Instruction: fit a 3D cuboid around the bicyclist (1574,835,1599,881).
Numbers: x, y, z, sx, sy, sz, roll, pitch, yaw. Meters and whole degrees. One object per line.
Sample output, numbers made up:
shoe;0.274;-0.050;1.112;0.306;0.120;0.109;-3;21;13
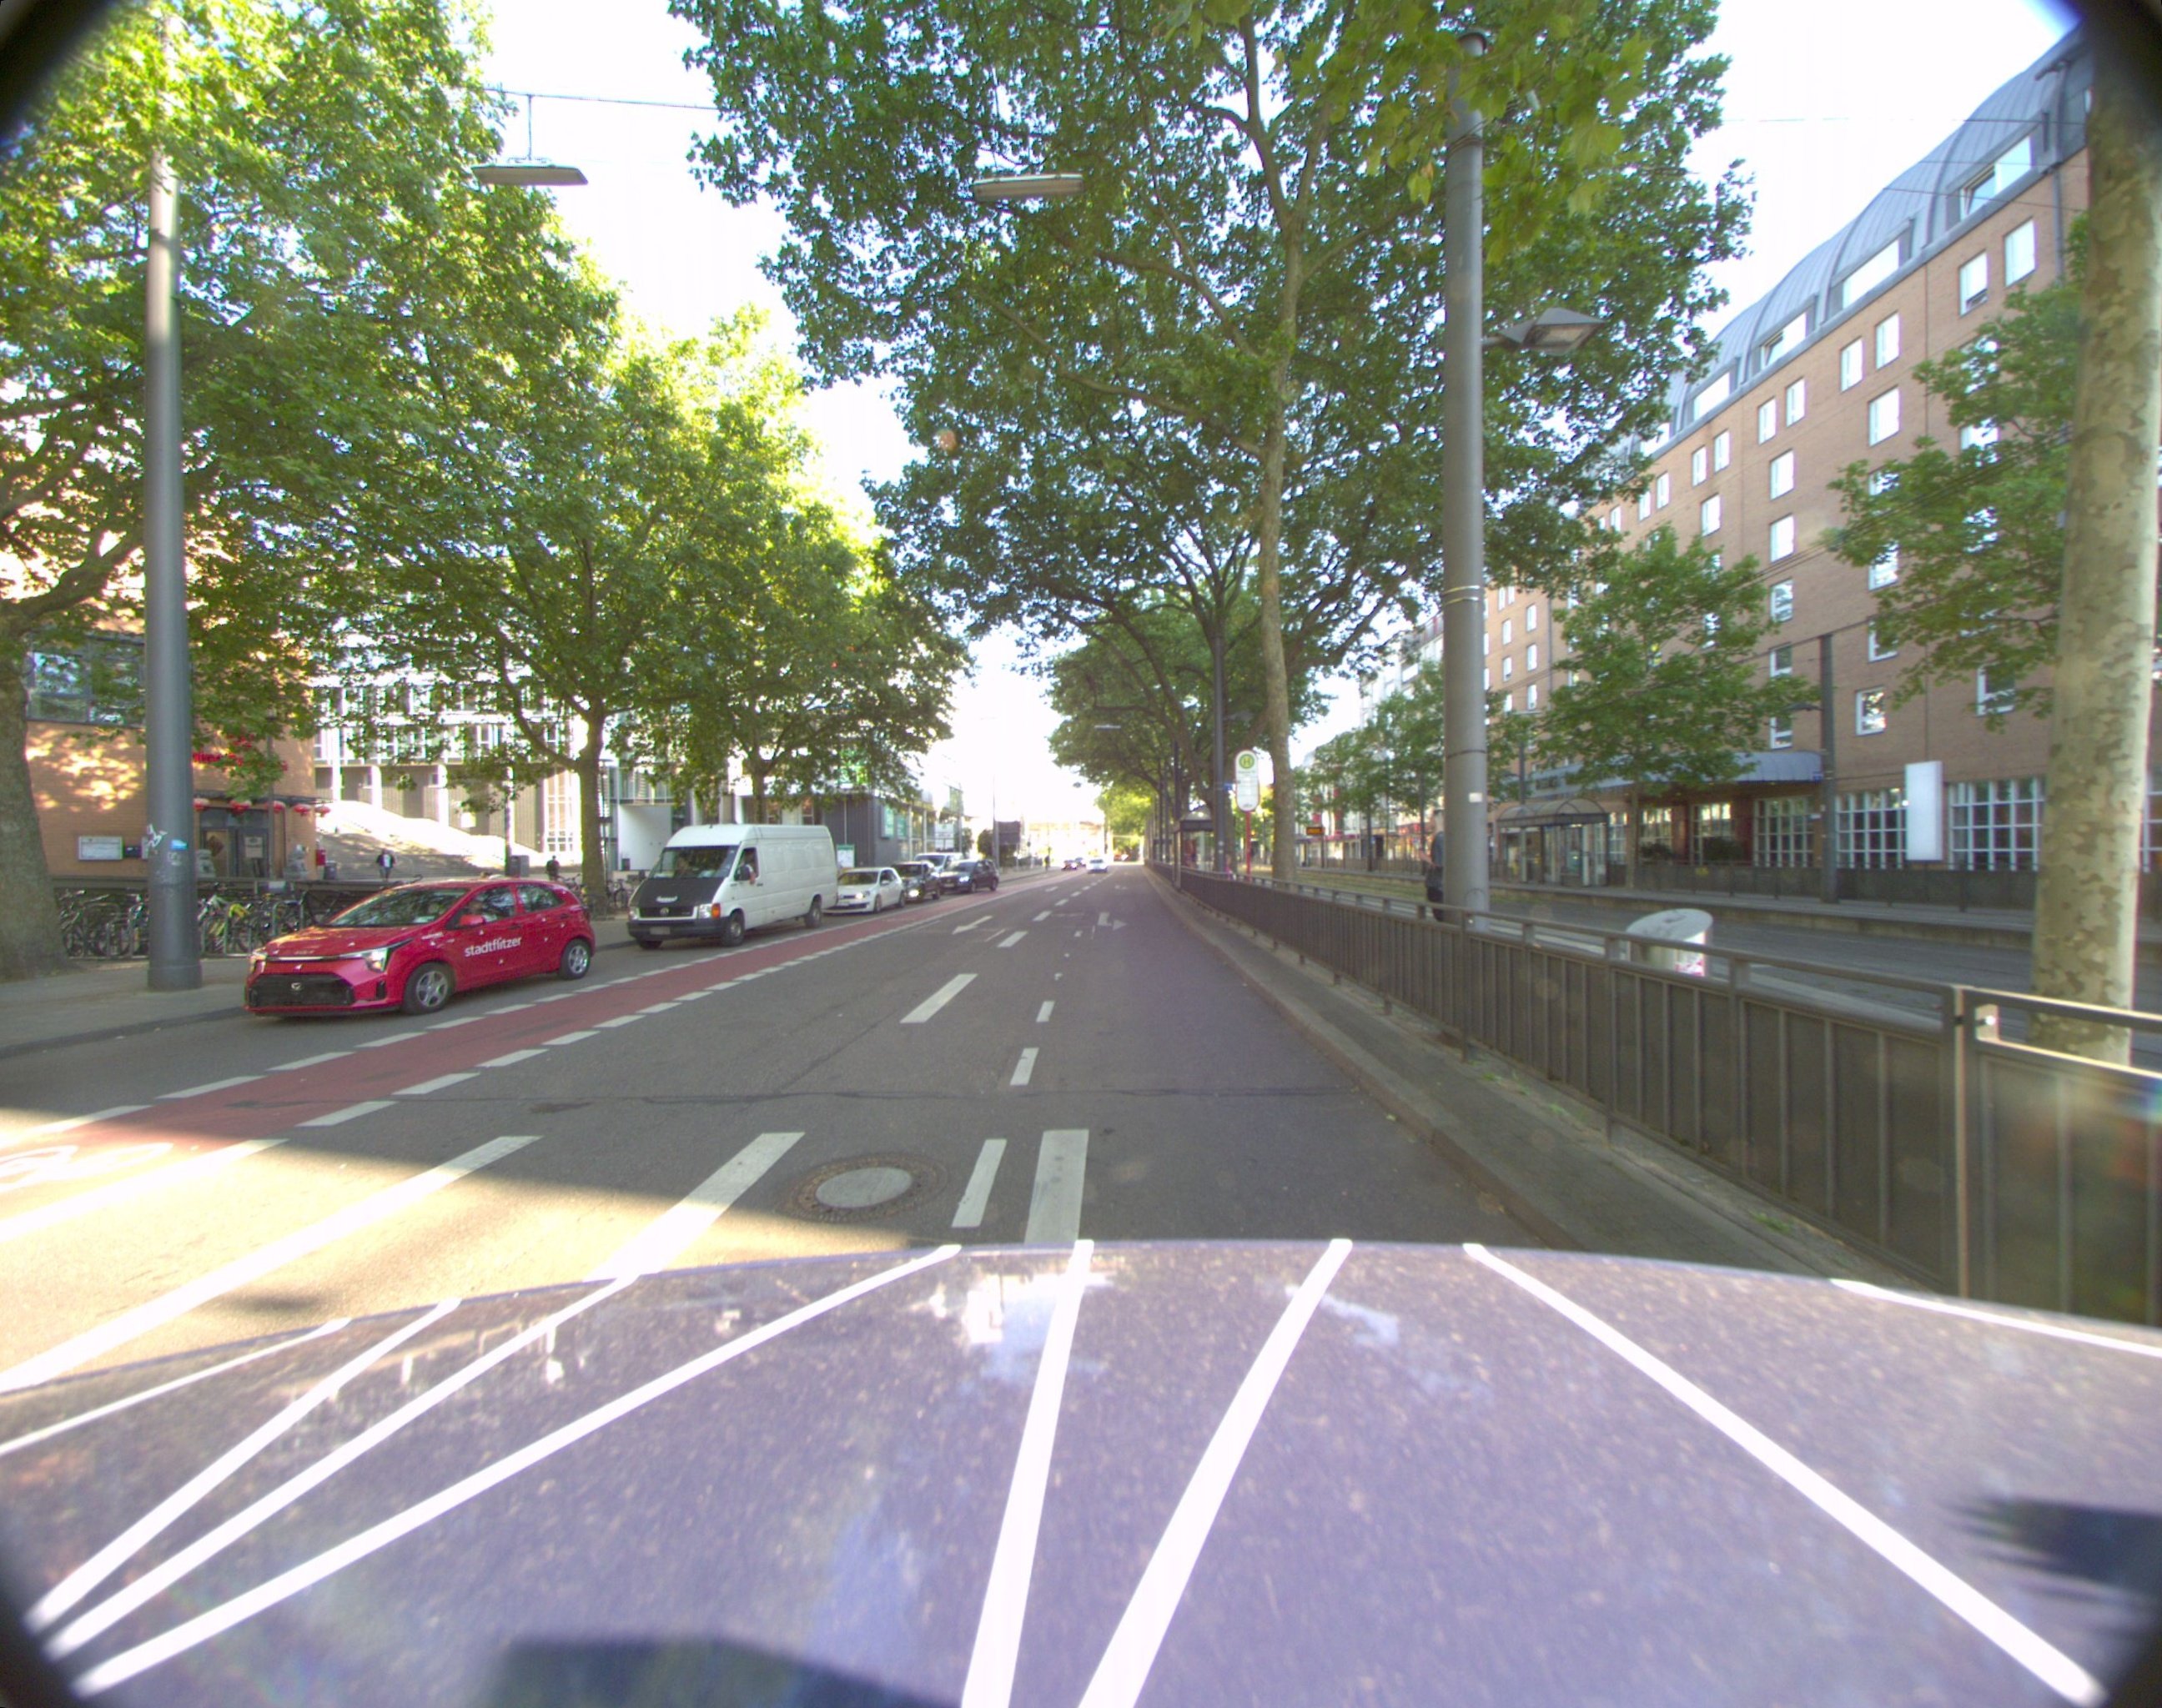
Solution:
bicyclist;21.127;0.160;31.757;0.572;1.893;0.813;0;1;6

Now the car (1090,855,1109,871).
car;1.791;0.832;73.960;1.733;1.432;4.000;-2;0;2

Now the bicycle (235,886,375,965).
bicycle;-13.317;1.194;13.128;0.482;1.187;1.850;0;0;1

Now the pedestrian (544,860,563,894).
pedestrian;-24.517;1.079;35.318;0.719;1.549;0.639;-1;1;-35

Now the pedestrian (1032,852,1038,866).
pedestrian;-5.508;0.621;90.719;0.611;1.644;0.583;-1;1;1

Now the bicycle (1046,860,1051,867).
bicycle;-3.875;1.120;90.680;0.580;0.879;1.671;-1;0;1

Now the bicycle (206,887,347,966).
bicycle;-13.820;1.204;13.134;0.448;1.187;1.850;0;0;1

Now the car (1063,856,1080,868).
car;-1.121;0.953;92.601;1.801;1.369;4.001;0;0;3

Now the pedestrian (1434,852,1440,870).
pedestrian;30.290;0.590;64.654;0.438;1.497;0.659;0;1;23

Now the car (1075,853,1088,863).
car;0.081;0.616;112.618;1.801;1.438;4.001;0;0;3

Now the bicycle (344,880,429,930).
bicycle;-17.866;1.286;19.592;0.517;1.187;1.790;0;0;1

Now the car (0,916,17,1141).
car;-8.010;1.168;2.950;1.743;1.476;4.251;-1;0;0

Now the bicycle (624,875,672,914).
bicycle;-14.114;1.298;24.820;0.495;1.187;1.850;0;0;1

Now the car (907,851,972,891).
car;-7.472;0.862;40.526;1.965;1.983;4.960;-1;0;7

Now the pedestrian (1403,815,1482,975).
pedestrian;4.423;0.473;9.315;0.607;1.873;0.622;-3;3;-22

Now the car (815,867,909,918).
car;-7.045;1.189;24.867;1.682;1.420;4.001;-1;0;3

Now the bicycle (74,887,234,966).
bicycle;-15.924;1.203;13.135;0.458;1.187;1.850;0;0;1

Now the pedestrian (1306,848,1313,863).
pedestrian;30.677;0.182;101.997;0.806;2.002;0.763;-1;1;1

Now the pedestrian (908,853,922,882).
pedestrian;-10.103;0.791;46.354;0.715;1.758;0.526;-1;1;2

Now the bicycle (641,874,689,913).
bicycle;-13.571;1.268;24.841;0.522;1.187;1.850;0;0;1

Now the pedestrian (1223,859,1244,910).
pedestrian;3.933;0.779;19.622;0.500;1.308;0.419;0;1;8

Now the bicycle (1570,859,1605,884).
bicycle;21.198;0.737;31.822;0.451;0.998;1.753;0;0;6

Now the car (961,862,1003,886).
car;-5.991;1.177;46.347;1.801;1.369;4.001;0;0;3

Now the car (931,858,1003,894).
car;-5.461;1.014;37.118;1.964;1.610;4.335;-1;0;14

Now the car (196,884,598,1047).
car;-7.957;1.178;9.379;1.606;1.449;3.651;-1;0;0

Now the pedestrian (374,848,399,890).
pedestrian;-34.164;0.732;37.382;0.878;2.025;0.584;-1;1;-43

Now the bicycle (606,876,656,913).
bicycle;-14.658;1.309;24.818;0.522;1.088;1.797;0;0;1

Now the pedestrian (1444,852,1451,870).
pedestrian;31.064;0.573;64.389;0.438;1.511;0.659;0;1;23

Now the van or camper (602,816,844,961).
van or camper;-7.529;0.621;17.071;1.998;2.563;6.575;-2;0;3

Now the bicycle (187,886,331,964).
bicycle;-14.326;1.200;13.324;0.484;1.187;1.850;0;0;1

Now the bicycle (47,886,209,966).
bicycle;-16.387;1.197;13.138;0.435;1.187;1.850;0;0;1

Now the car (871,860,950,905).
car;-6.726;1.084;30.457;1.818;1.610;4.229;-1;0;5

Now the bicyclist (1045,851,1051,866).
bicyclist;-3.894;0.529;90.671;0.673;1.707;0.715;-1;1;1

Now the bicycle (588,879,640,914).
bicycle;-15.219;1.365;24.794;0.516;1.027;1.850;0;0;1

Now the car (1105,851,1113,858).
car;7.720;0.102;206.785;1.998;2.002;4.001;0;0;4

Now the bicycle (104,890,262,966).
bicycle;-15.425;1.236;13.133;0.485;1.118;1.850;0;0;1

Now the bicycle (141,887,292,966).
bicycle;-14.842;1.199;13.124;0.447;1.187;1.850;0;0;1
